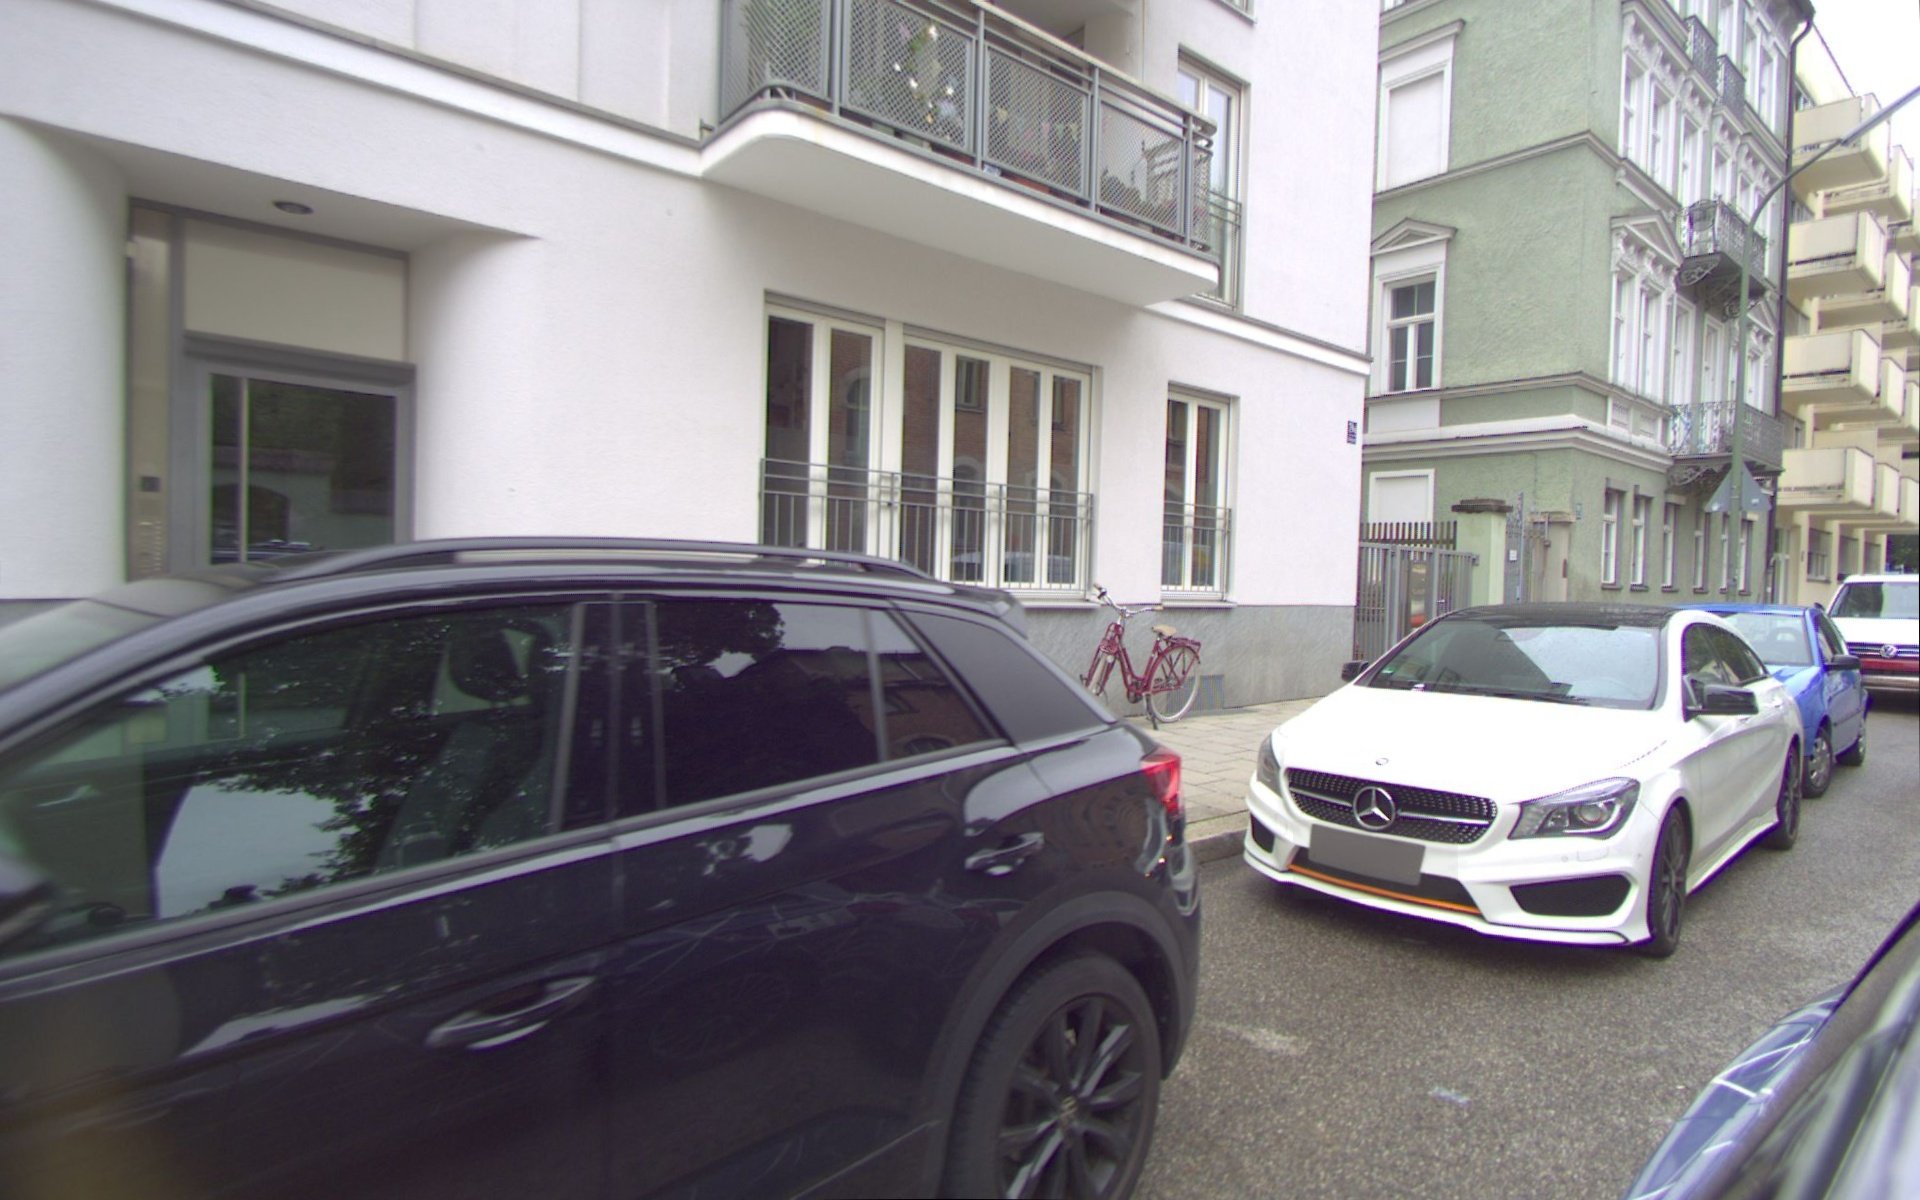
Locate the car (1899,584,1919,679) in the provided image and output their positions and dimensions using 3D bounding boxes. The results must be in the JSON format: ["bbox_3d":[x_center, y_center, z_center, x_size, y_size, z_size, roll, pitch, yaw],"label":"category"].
[{"bbox_3d":[19.997,0.630,19.811,4.472,1.780,1.831,1,0,-40],"label":"car"}]

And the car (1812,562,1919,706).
[{"bbox_3d":[14.441,0.475,15.083,4.508,1.920,1.858,1,-1,-39],"label":"car"}]

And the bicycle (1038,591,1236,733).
[{"bbox_3d":[1.549,0.473,8.665,1.803,1.040,0.679,-2,3,-41],"label":"bicycle"}]

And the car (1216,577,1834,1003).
[{"bbox_3d":[3.283,0.654,5.475,4.134,1.458,1.660,0,0,-42],"label":"car"}]

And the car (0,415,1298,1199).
[{"bbox_3d":[-1.123,0.594,1.891,3.915,1.550,1.606,0,0,-42],"label":"car"}]

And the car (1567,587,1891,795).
[{"bbox_3d":[6.748,0.615,8.765,3.493,1.430,1.621,0,0,-42],"label":"car"}]
